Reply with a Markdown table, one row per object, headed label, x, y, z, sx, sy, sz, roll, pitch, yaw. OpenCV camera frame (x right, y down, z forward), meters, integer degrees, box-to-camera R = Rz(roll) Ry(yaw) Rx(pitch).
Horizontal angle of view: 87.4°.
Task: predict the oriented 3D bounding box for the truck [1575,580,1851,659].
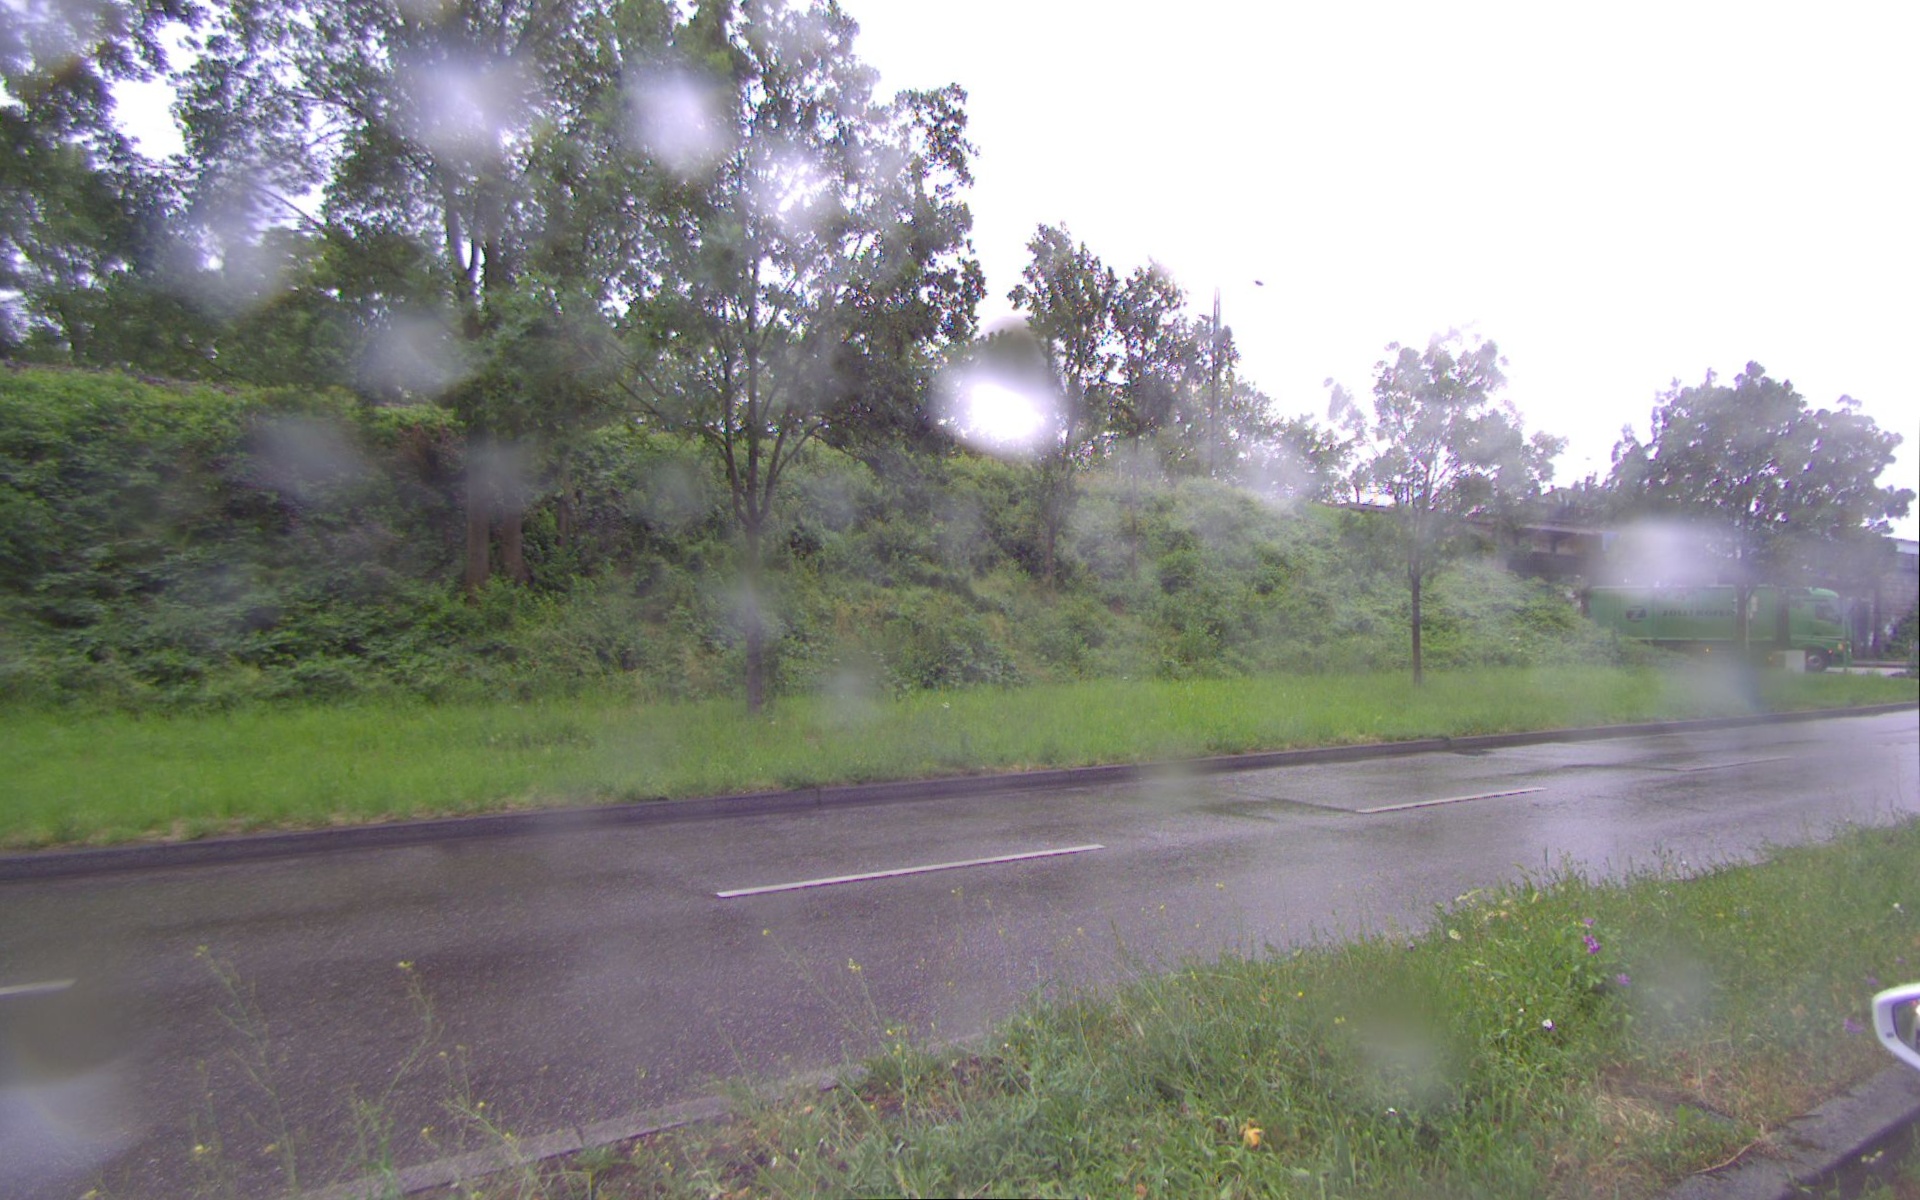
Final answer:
| label | x | y | z | sx | sy | sz | roll | pitch | yaw |
| --- | --- | --- | --- | --- | --- | --- | --- | --- | --- |
| truck | 34.313 | 0.839 | 46.319 | 9.872 | 3.416 | 2.346 | 0 | -1 | 25 |
